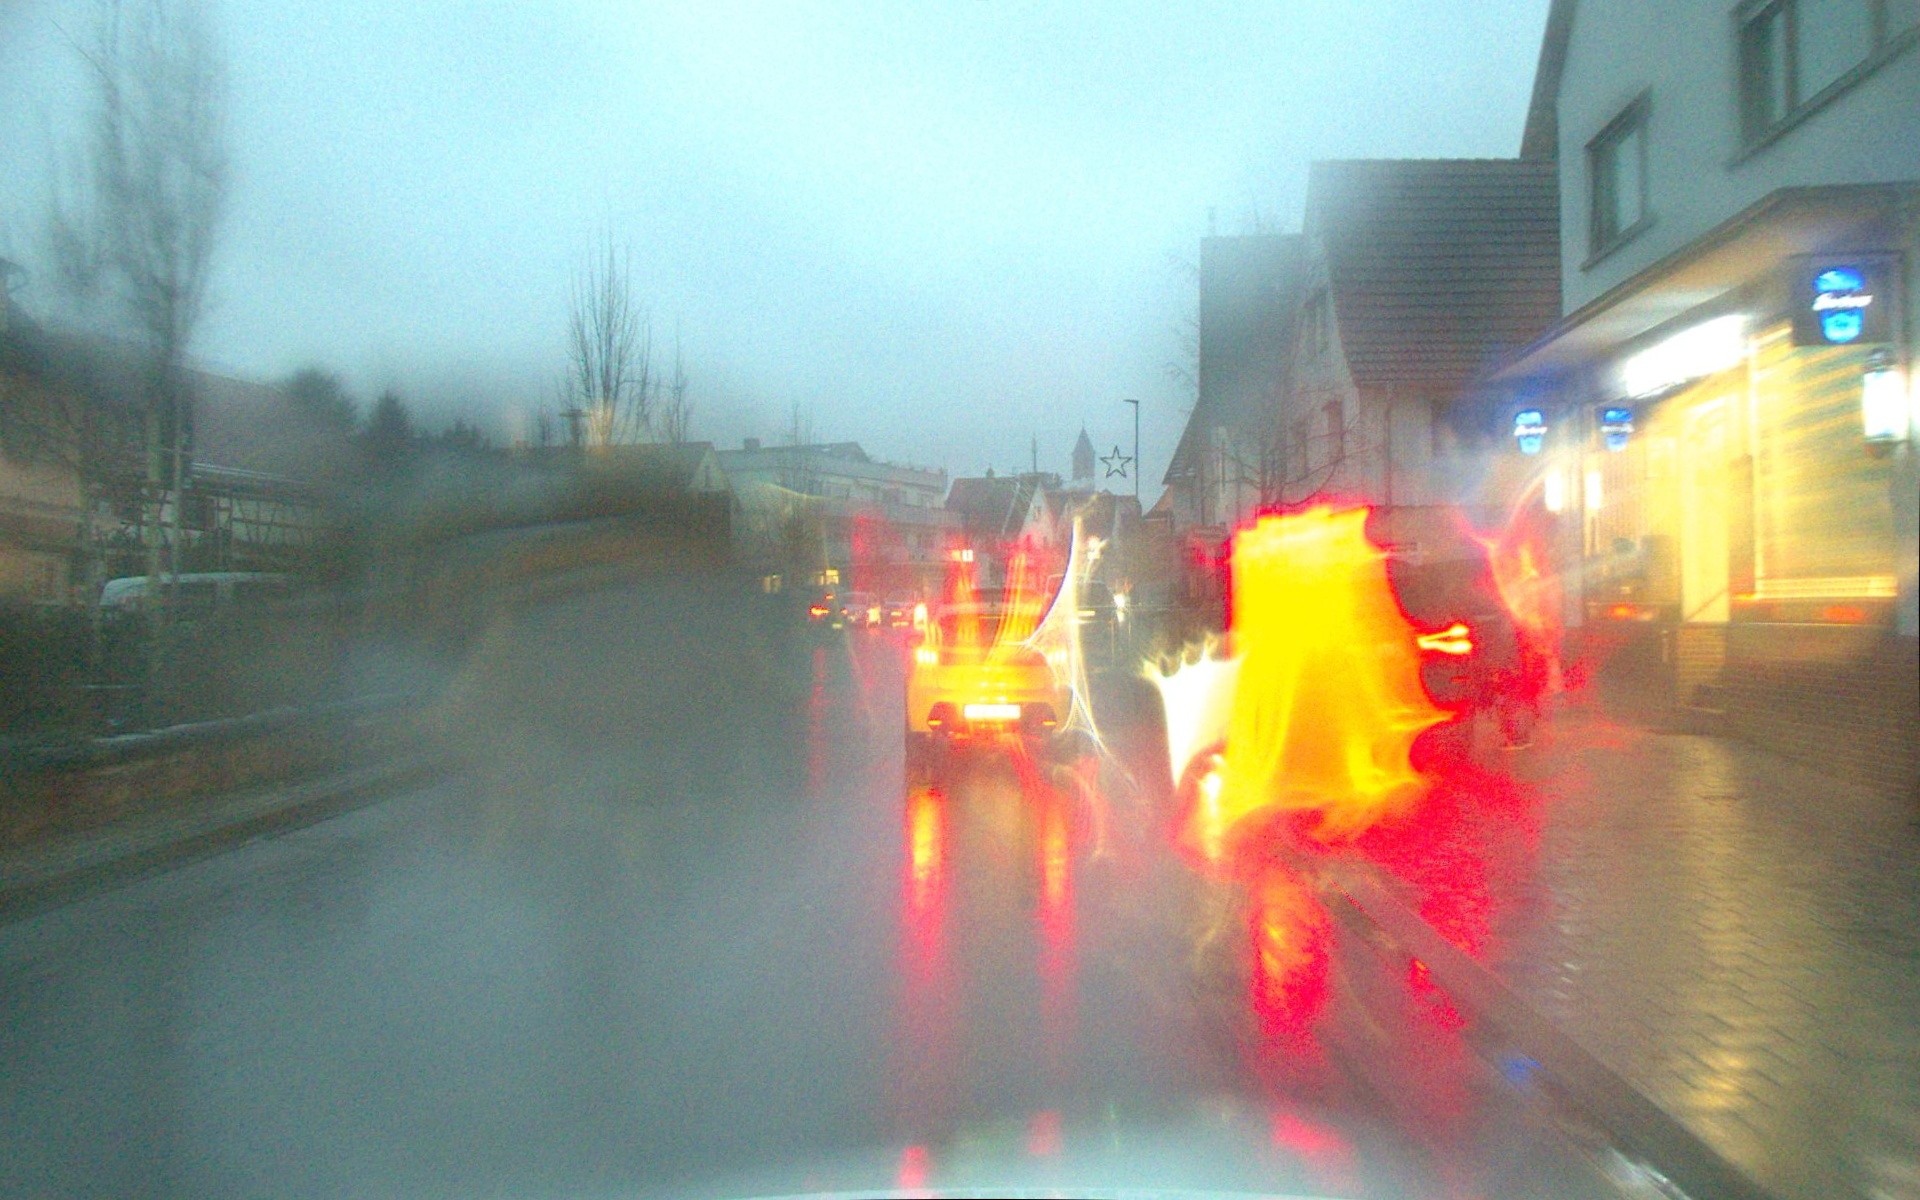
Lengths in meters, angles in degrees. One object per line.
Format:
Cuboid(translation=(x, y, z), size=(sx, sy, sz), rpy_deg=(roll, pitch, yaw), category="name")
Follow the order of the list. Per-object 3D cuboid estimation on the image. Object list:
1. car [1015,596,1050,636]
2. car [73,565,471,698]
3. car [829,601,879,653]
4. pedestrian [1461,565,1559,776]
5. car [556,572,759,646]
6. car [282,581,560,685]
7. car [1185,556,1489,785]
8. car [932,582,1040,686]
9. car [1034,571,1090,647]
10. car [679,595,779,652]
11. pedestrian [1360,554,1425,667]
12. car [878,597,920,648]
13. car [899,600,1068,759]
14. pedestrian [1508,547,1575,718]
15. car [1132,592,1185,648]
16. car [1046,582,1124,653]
Cuboid(translation=(4.136, 0.966, 95.071), size=(1.952, 2.149, 4.000), rpy_deg=(1, -2, 2), category="car")
Cuboid(translation=(-9.218, 0.421, 22.467), size=(4.532, 1.697, 1.999), rpy_deg=(0, -1, -2), category="car")
Cuboid(translation=(-4.438, 1.186, 69.651), size=(1.881, 2.063, 3.973), rpy_deg=(1, -2, -1), category="car")
Cuboid(translation=(4.660, 0.589, 14.048), size=(0.561, 1.729, 0.653), rpy_deg=(-2, -1, 2), category="pedestrian")
Cuboid(translation=(-8.397, 0.240, 46.018), size=(5.281, 1.849, 1.713), rpy_deg=(2, 0, 14), category="car")
Cuboid(translation=(-8.969, 0.539, 27.682), size=(4.079, 1.673, 1.659), rpy_deg=(0, -1, 5), category="car")
Cuboid(translation=(3.165, 0.546, 14.787), size=(1.700, 1.722, 4.386), rpy_deg=(-1, 0, 0), category="car")
Cuboid(translation=(0.494, 0.547, 28.617), size=(1.729, 1.657, 3.587), rpy_deg=(1, 0, 2), category="car")
Cuboid(translation=(3.623, 0.372, 59.159), size=(1.831, 2.512, 4.444), rpy_deg=(1, -2, 2), category="car")
Cuboid(translation=(-9.868, 1.027, 70.531), size=(4.313, 2.291, 1.985), rpy_deg=(-1, -3, 45), category="car")
Cuboid(translation=(6.032, 0.135, 23.100), size=(0.607, 1.542, 0.732), rpy_deg=(0, 1, -13), category="pedestrian")
Cuboid(translation=(-2.817, 1.065, 77.466), size=(1.881, 2.254, 3.973), rpy_deg=(1, -2, -1), category="car")
Cuboid(translation=(0.233, 0.730, 16.742), size=(1.531, 1.437, 3.018), rpy_deg=(1, 0, 1), category="car")
Cuboid(translation=(6.076, 0.340, 17.297), size=(0.605, 1.757, 0.502), rpy_deg=(1, -3, 12), category="pedestrian")
Cuboid(translation=(8.543, 0.885, 71.542), size=(1.952, 2.288, 4.000), rpy_deg=(1, -2, 2), category="car")
Cuboid(translation=(3.492, 0.489, 46.798), size=(1.956, 1.897, 4.083), rpy_deg=(0, -1, 1), category="car")
